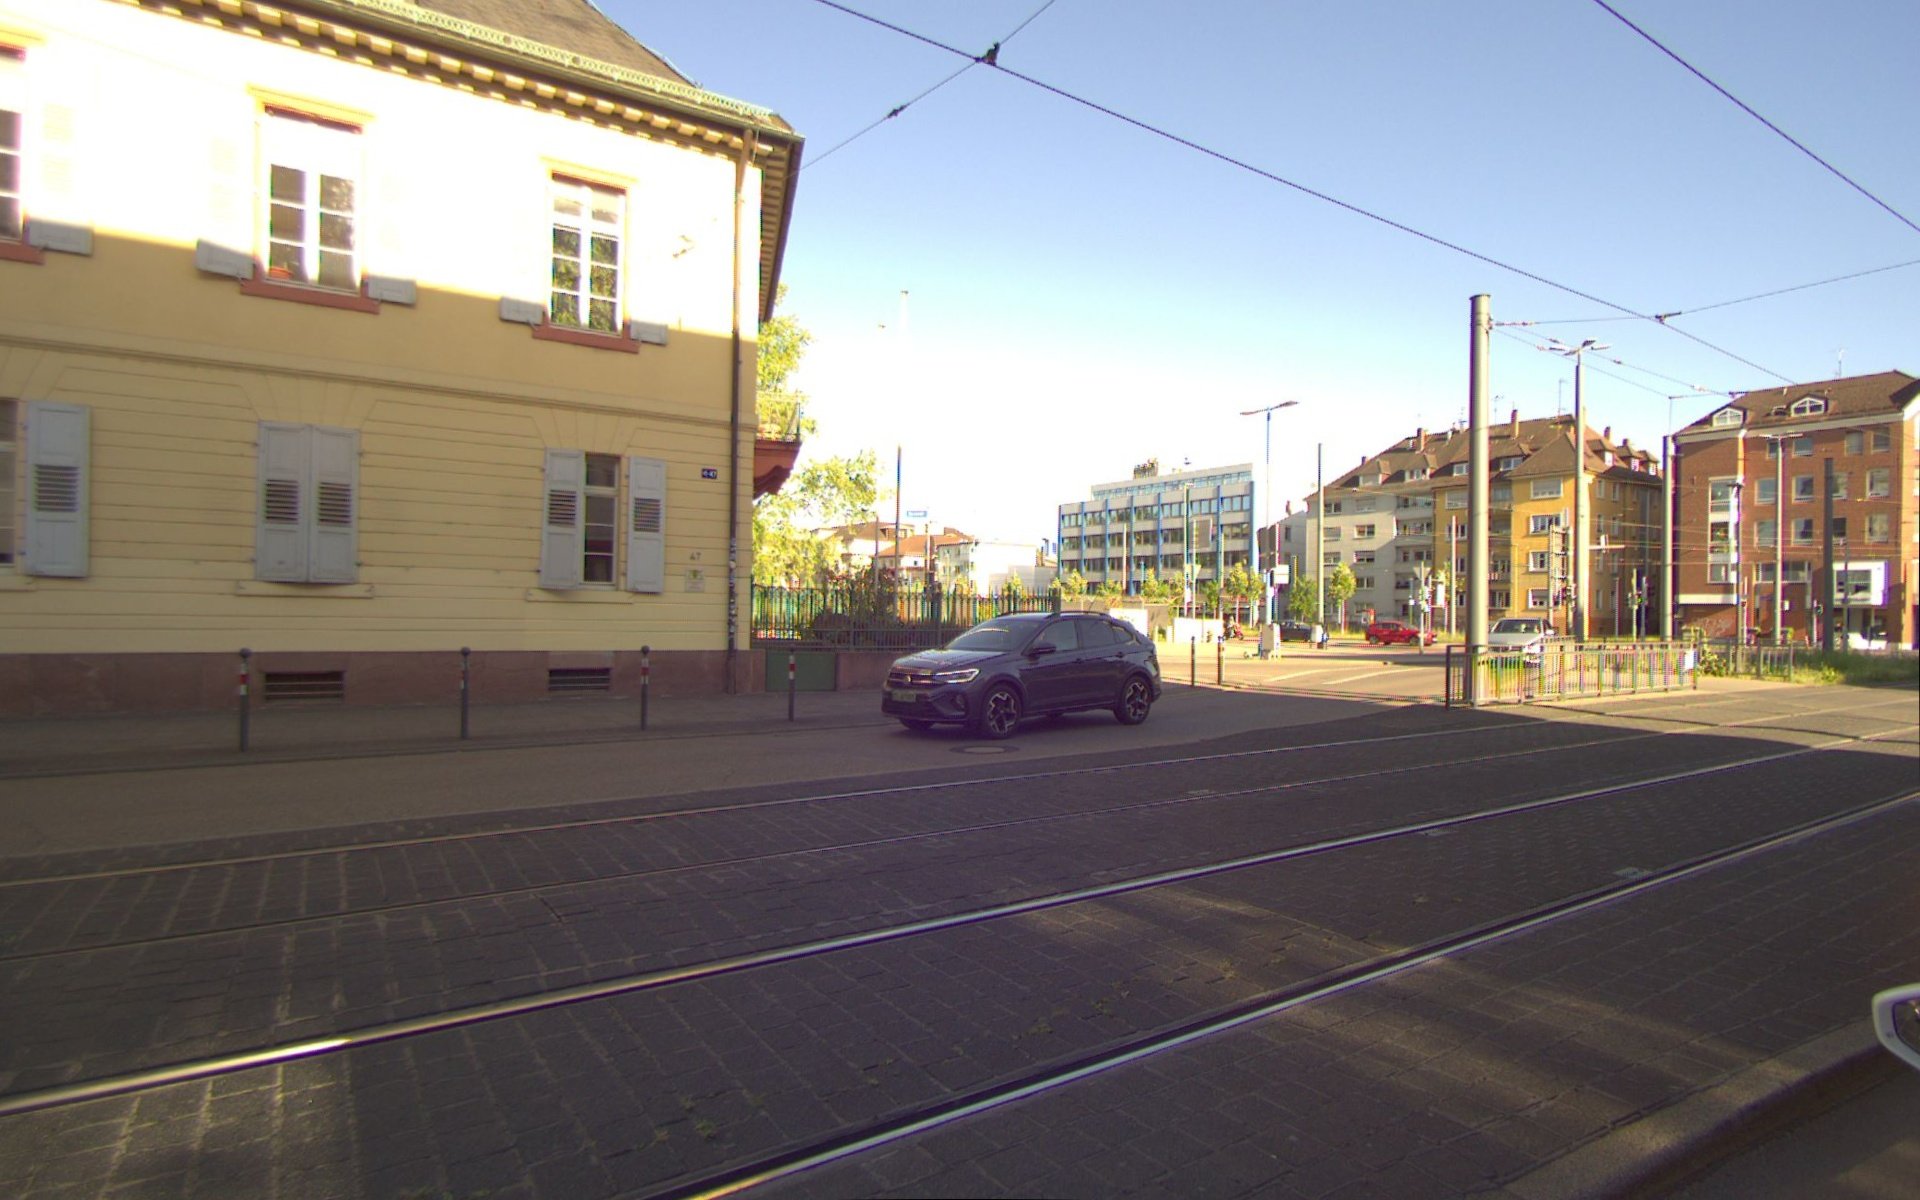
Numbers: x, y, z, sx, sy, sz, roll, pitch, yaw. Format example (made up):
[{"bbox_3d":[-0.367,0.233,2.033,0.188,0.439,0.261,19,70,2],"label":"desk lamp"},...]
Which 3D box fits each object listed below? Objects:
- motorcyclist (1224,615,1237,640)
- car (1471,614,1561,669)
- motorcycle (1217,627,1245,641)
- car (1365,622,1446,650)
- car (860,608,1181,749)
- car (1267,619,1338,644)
[{"bbox_3d":[19.451,1.949,72.128,0.385,1.731,0.775,1,1,-38],"label":"motorcyclist"},{"bbox_3d":[17.329,1.252,31.215,1.760,1.589,4.274,-1,-1,38],"label":"car"},{"bbox_3d":[19.473,2.457,72.138,0.556,0.905,1.982,1,1,-38],"label":"motorcycle"},{"bbox_3d":[27.241,2.184,61.467,1.922,1.510,4.111,1,0,-39],"label":"car"},{"bbox_3d":[0.924,0.914,13.181,4.249,1.532,1.748,2,-1,-43],"label":"car"},{"bbox_3d":[23.154,2.120,68.045,1.922,1.510,4.111,1,1,-39],"label":"car"}]
